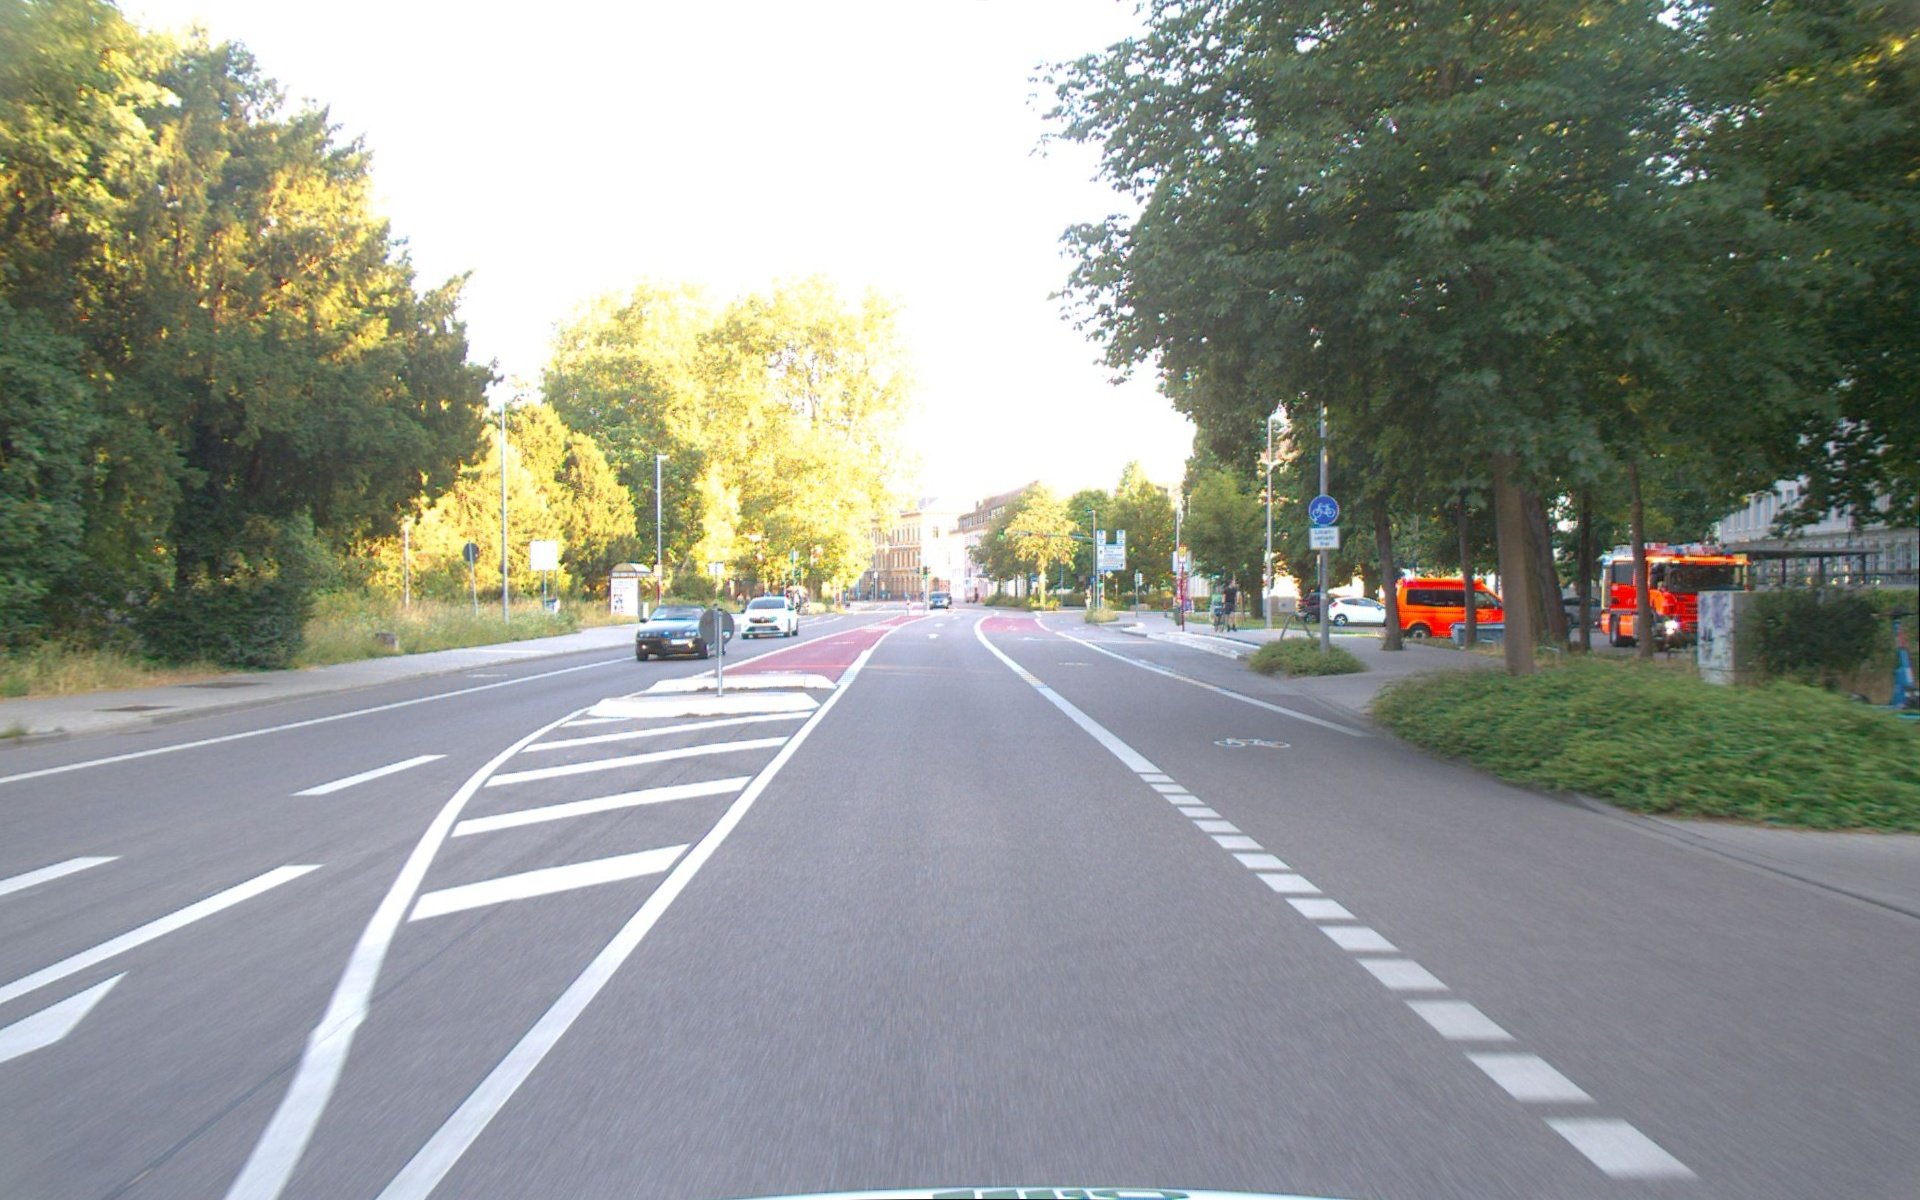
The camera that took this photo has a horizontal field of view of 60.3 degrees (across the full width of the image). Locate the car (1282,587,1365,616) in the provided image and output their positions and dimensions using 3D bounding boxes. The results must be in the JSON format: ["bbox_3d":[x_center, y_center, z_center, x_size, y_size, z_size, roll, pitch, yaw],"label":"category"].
[{"bbox_3d":[20.414,0.072,93.002,4.364,1.618,1.717,0,0,6],"label":"car"}]

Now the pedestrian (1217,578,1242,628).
[{"bbox_3d":[9.685,0.115,59.461,0.754,1.770,0.731,0,0,-1],"label":"pedestrian"}]

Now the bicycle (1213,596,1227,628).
[{"bbox_3d":[9.329,0.413,59.411,0.293,1.119,1.522,0,0,1],"label":"bicycle"}]

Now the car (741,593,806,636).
[{"bbox_3d":[-6.705,0.509,59.761,1.760,1.478,4.128,0,0,1],"label":"car"}]

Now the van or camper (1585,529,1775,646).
[{"bbox_3d":[22.282,-0.390,51.758,3.364,3.255,8.238,2,1,9],"label":"van or camper"}]

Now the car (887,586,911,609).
[{"bbox_3d":[-4.046,-0.187,109.450,1.462,1.512,3.490,0,0,0],"label":"car"}]

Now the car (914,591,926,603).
[{"bbox_3d":[-5.046,-0.360,209.776,1.462,1.512,3.490,0,0,0],"label":"car"}]

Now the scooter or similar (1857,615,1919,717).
[{"bbox_3d":[10.127,0.696,17.893,0.304,1.060,0.980,0,0,-1],"label":"scooter or similar"}]

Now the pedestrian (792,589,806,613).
[{"bbox_3d":[-11.231,0.065,115.367,0.774,1.608,0.746,1,0,8],"label":"pedestrian"}]

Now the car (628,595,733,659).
[{"bbox_3d":[-6.756,0.614,40.370,1.760,1.478,4.128,0,0,1],"label":"car"}]

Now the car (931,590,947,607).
[{"bbox_3d":[-1.974,-0.140,154.498,1.462,1.512,3.490,0,0,0],"label":"car"}]

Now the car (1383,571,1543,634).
[{"bbox_3d":[16.576,0.083,54.705,4.806,2.024,1.923,0,0,6],"label":"car"}]

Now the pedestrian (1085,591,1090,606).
[{"bbox_3d":[11.108,-0.109,143.743,0.382,1.260,0.404,0,0,-1],"label":"pedestrian"}]

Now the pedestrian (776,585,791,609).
[{"bbox_3d":[-11.563,-0.203,108.470,0.774,1.608,0.746,1,0,8],"label":"pedestrian"}]

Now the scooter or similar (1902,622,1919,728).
[{"bbox_3d":[9.861,0.764,16.537,0.304,1.060,0.980,0,0,-1],"label":"scooter or similar"}]

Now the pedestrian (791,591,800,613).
[{"bbox_3d":[-11.261,0.136,113.219,0.569,1.455,0.559,1,0,-10],"label":"pedestrian"}]

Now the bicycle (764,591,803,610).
[{"bbox_3d":[-11.564,0.032,108.438,2.410,1.216,0.757,0,0,8],"label":"bicycle"}]

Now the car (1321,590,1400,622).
[{"bbox_3d":[20.173,0.292,83.505,3.693,1.618,1.717,0,0,6],"label":"car"}]
